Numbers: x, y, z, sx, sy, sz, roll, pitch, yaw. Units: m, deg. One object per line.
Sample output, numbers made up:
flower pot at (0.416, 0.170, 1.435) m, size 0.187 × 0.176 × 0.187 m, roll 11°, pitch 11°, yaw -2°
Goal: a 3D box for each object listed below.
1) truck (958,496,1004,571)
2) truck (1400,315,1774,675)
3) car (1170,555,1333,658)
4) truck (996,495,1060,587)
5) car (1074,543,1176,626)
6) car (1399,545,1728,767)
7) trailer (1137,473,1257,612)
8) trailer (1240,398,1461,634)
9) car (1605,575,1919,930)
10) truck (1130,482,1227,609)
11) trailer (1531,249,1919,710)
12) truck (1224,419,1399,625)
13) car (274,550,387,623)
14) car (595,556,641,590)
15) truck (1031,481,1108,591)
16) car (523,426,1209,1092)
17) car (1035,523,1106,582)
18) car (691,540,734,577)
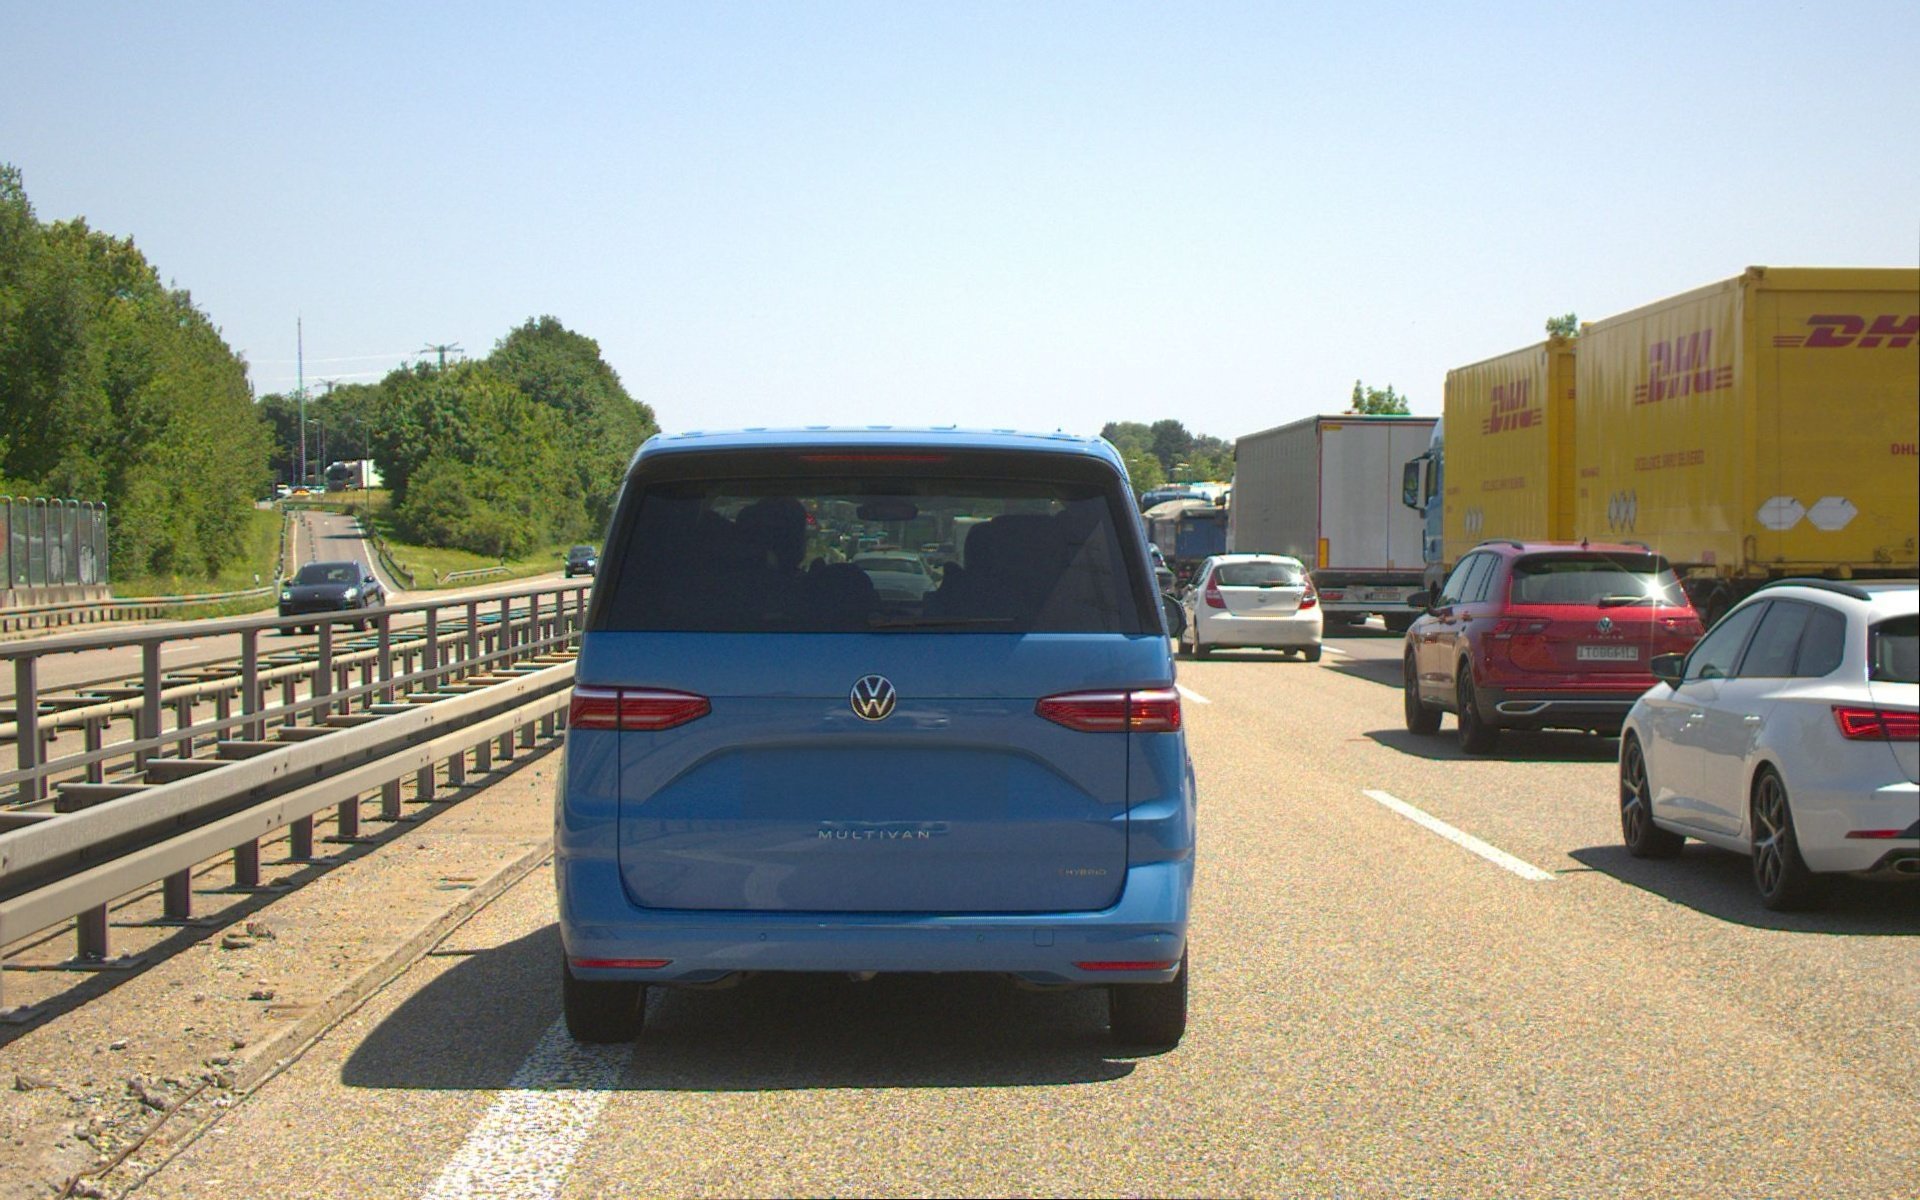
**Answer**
truck at (1.516, -4.842, 255.216) m, size 2.833 × 5.354 × 12.556 m, roll 1°, pitch 0°, yaw -2°
truck at (7.800, -1.215, 44.302) m, size 2.722 × 4.041 × 10.336 m, roll 1°, pitch 0°, yaw -1°
car at (4.122, 0.066, 49.113) m, size 1.838 × 1.409 × 4.000 m, roll 0°, pitch 1°, yaw -2°
truck at (3.830, -3.302, 196.376) m, size 2.833 × 5.023 × 11.818 m, roll 1°, pitch 0°, yaw -2°
car at (3.274, -0.326, 68.757) m, size 1.715 × 1.581 × 3.821 m, roll -1°, pitch 1°, yaw -2°
car at (4.667, 0.379, 27.127) m, size 1.851 × 1.603 × 4.000 m, roll 0°, pitch 1°, yaw -1°
trailer at (6.710, -1.582, 98.679) m, size 2.379 × 3.731 × 11.189 m, roll 1°, pitch 0°, yaw -1°
trailer at (7.392, -1.510, 66.637) m, size 2.755 × 4.132 × 11.312 m, roll 1°, pitch 0°, yaw -1°
car at (4.268, 0.594, 15.748) m, size 1.781 × 1.382 × 4.188 m, roll 0°, pitch 1°, yaw -1°
truck at (6.599, -1.608, 104.304) m, size 2.367 × 3.709 × 6.034 m, roll 1°, pitch 0°, yaw -1°
trailer at (7.957, -1.065, 34.646) m, size 2.701 × 4.010 × 8.931 m, roll 1°, pitch 0°, yaw -1°
truck at (7.314, -1.572, 72.320) m, size 2.768 × 4.081 × 6.984 m, roll 1°, pitch 0°, yaw -1°
car at (-14.380, -0.326, 78.724) m, size 1.780 × 1.563 × 4.387 m, roll -2°, pitch 1°, yaw -1°
car at (-16.193, -1.264, 162.865) m, size 1.754 × 1.542 × 4.000 m, roll -2°, pitch 0°, yaw -1°
truck at (5.188, -2.989, 164.765) m, size 2.833 × 5.023 × 11.147 m, roll 1°, pitch 0°, yaw -2°
car at (-0.282, 0.414, 11.487) m, size 1.882 × 1.831 × 4.000 m, roll 0°, pitch 1°, yaw -1°
car at (2.996, -1.282, 93.641) m, size 1.715 × 1.535 × 3.821 m, roll -1°, pitch 1°, yaw -1°
car at (-11.752, -1.977, 163.347) m, size 1.754 × 1.715 × 4.101 m, roll -1°, pitch 1°, yaw -1°
